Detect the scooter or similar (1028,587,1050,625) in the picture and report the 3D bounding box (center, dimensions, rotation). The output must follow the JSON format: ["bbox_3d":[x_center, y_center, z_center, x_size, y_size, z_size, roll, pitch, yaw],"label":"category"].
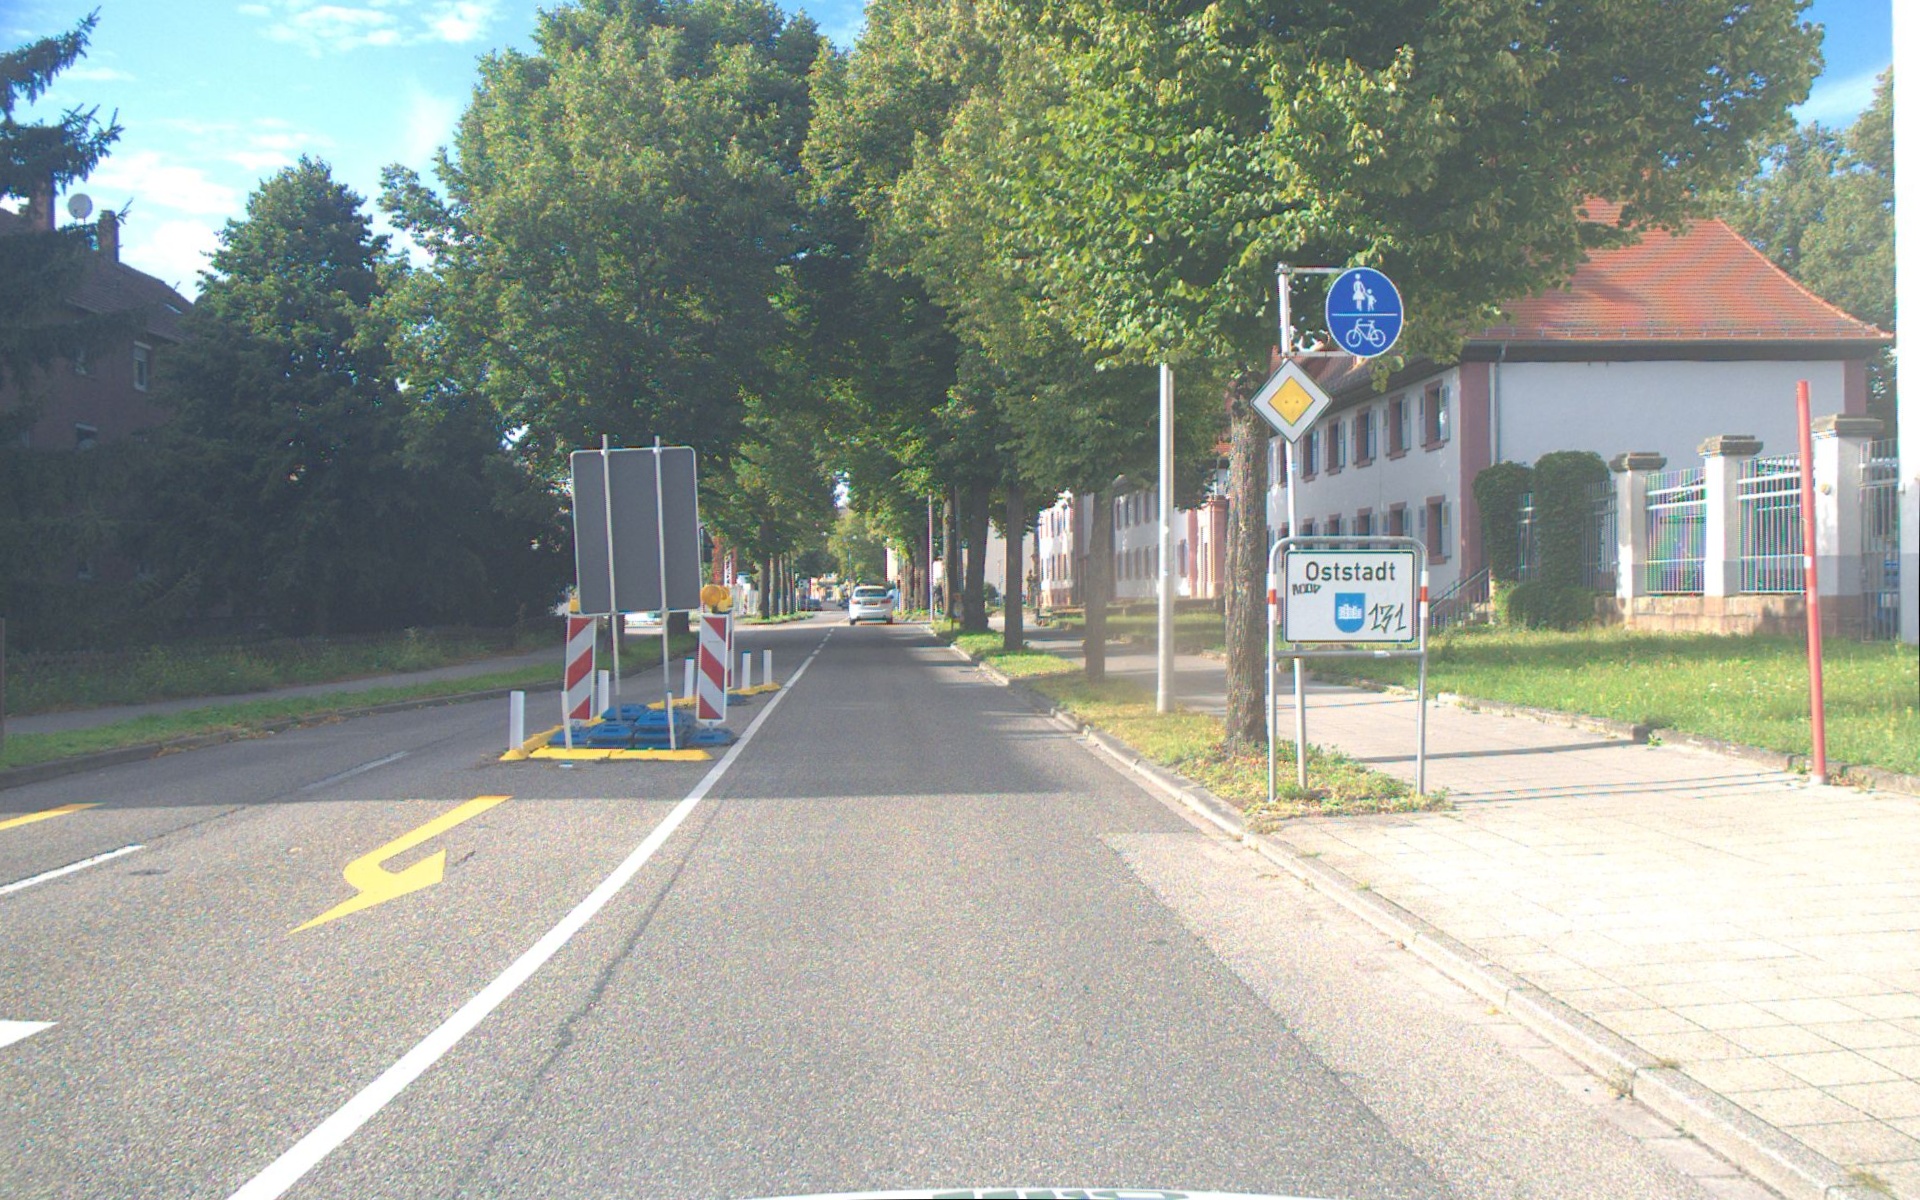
[{"bbox_3d":[2.752,0.206,57.789,0.567,1.314,1.381,-3,0,-2],"label":"scooter or similar"}]

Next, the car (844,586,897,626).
[{"bbox_3d":[-3.720,0.255,68.183,1.955,1.582,4.267,0,-1,-7],"label":"car"}]

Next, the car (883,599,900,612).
[{"bbox_3d":[-8.382,0.673,201.945,1.954,1.601,3.996,-2,0,-5],"label":"car"}]

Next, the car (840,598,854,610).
[{"bbox_3d":[-16.496,0.624,241.693,1.954,1.786,3.997,0,-1,-3],"label":"car"}]

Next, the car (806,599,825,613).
[{"bbox_3d":[-18.051,0.726,206.707,1.957,1.668,3.990,-2,0,-10],"label":"car"}]

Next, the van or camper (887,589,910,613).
[{"bbox_3d":[-7.151,0.131,191.258,2.168,2.653,5.362,-2,0,-8],"label":"van or camper"}]
